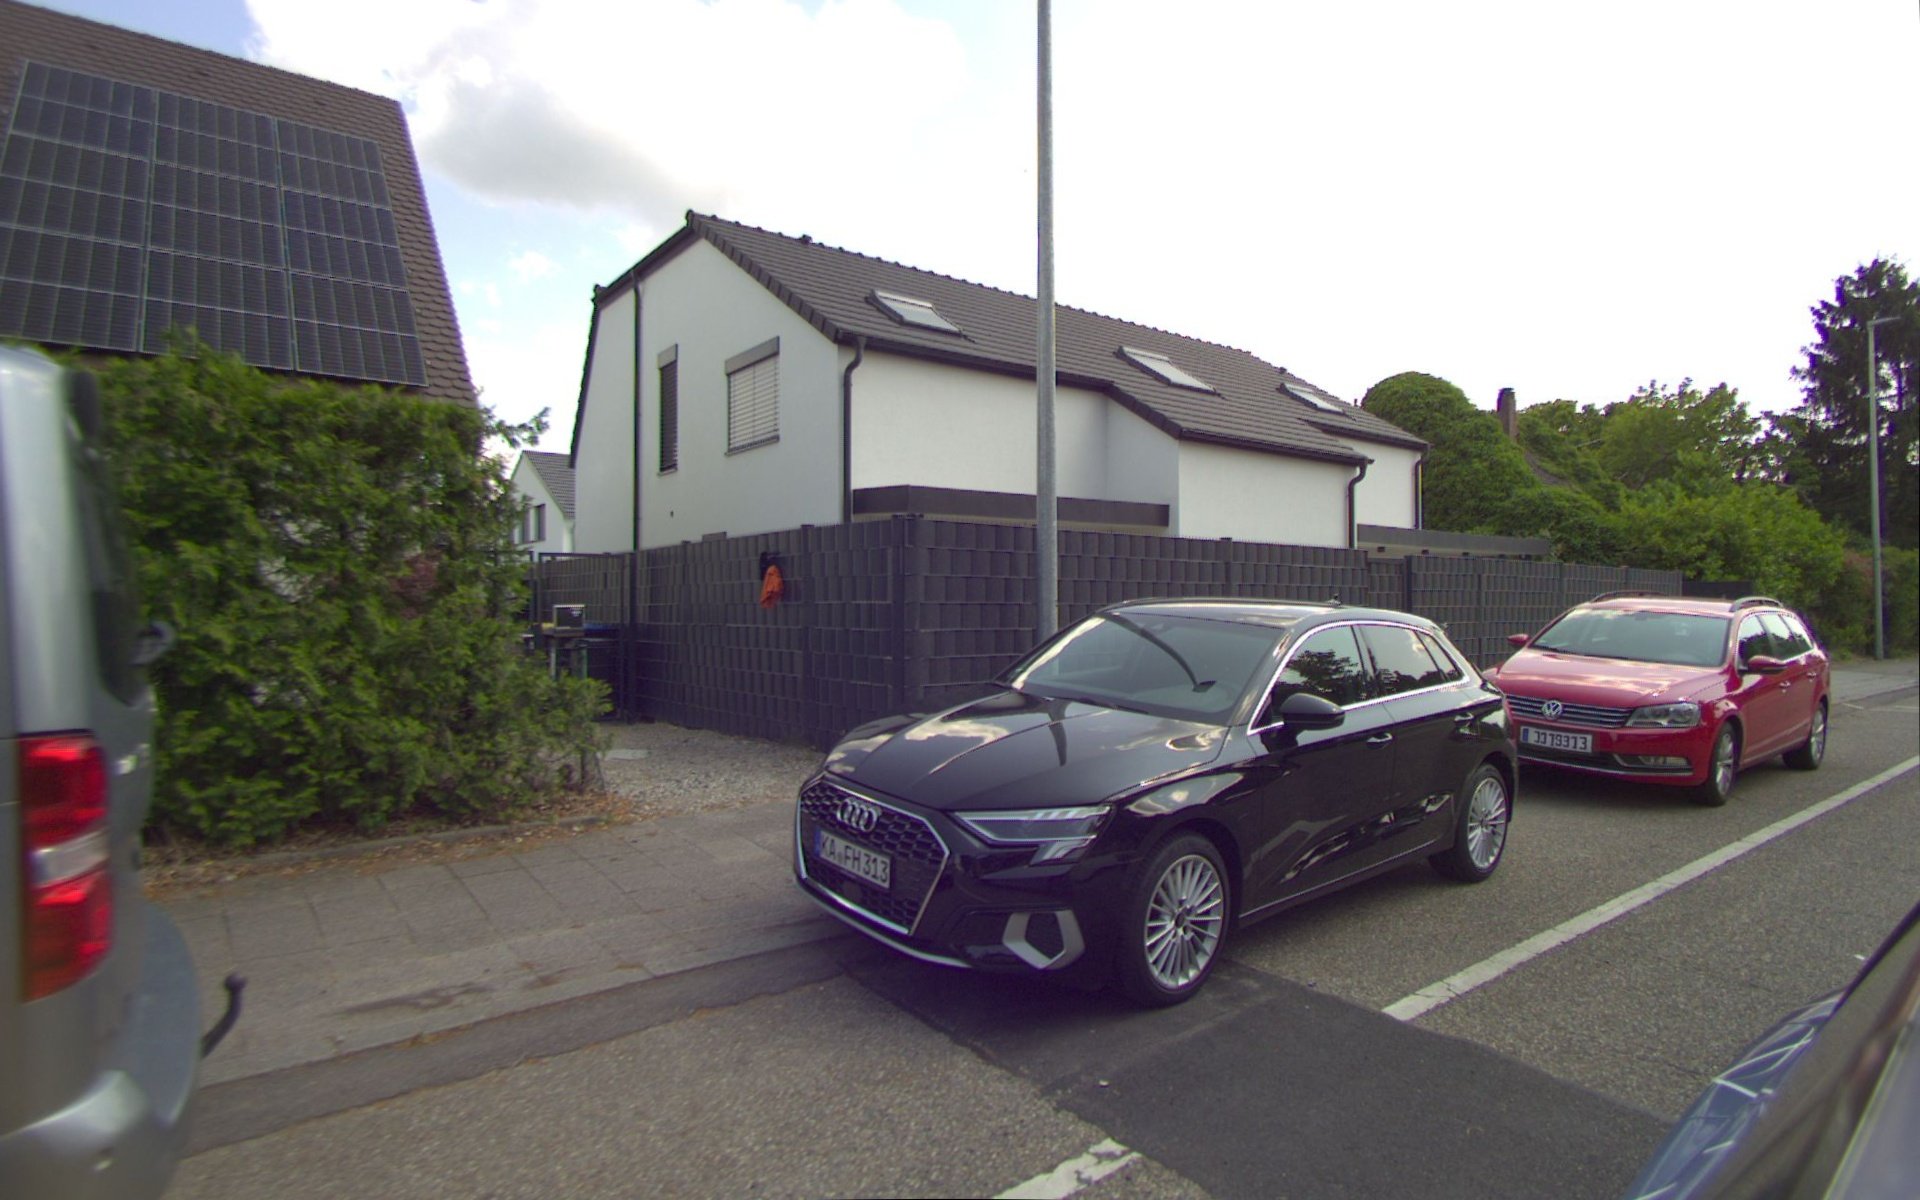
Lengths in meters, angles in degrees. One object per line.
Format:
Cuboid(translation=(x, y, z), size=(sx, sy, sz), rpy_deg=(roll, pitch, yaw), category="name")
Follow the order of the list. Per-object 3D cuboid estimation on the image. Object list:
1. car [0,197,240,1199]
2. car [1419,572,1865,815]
Cuboid(translation=(-3.590, 0.371, 0.793), size=(4.790, 1.968, 1.846), rpy_deg=(0, 2, -41), category="car")
Cuboid(translation=(6.093, 0.617, 8.822), size=(4.645, 1.599, 1.854), rpy_deg=(0, -1, -38), category="car")
